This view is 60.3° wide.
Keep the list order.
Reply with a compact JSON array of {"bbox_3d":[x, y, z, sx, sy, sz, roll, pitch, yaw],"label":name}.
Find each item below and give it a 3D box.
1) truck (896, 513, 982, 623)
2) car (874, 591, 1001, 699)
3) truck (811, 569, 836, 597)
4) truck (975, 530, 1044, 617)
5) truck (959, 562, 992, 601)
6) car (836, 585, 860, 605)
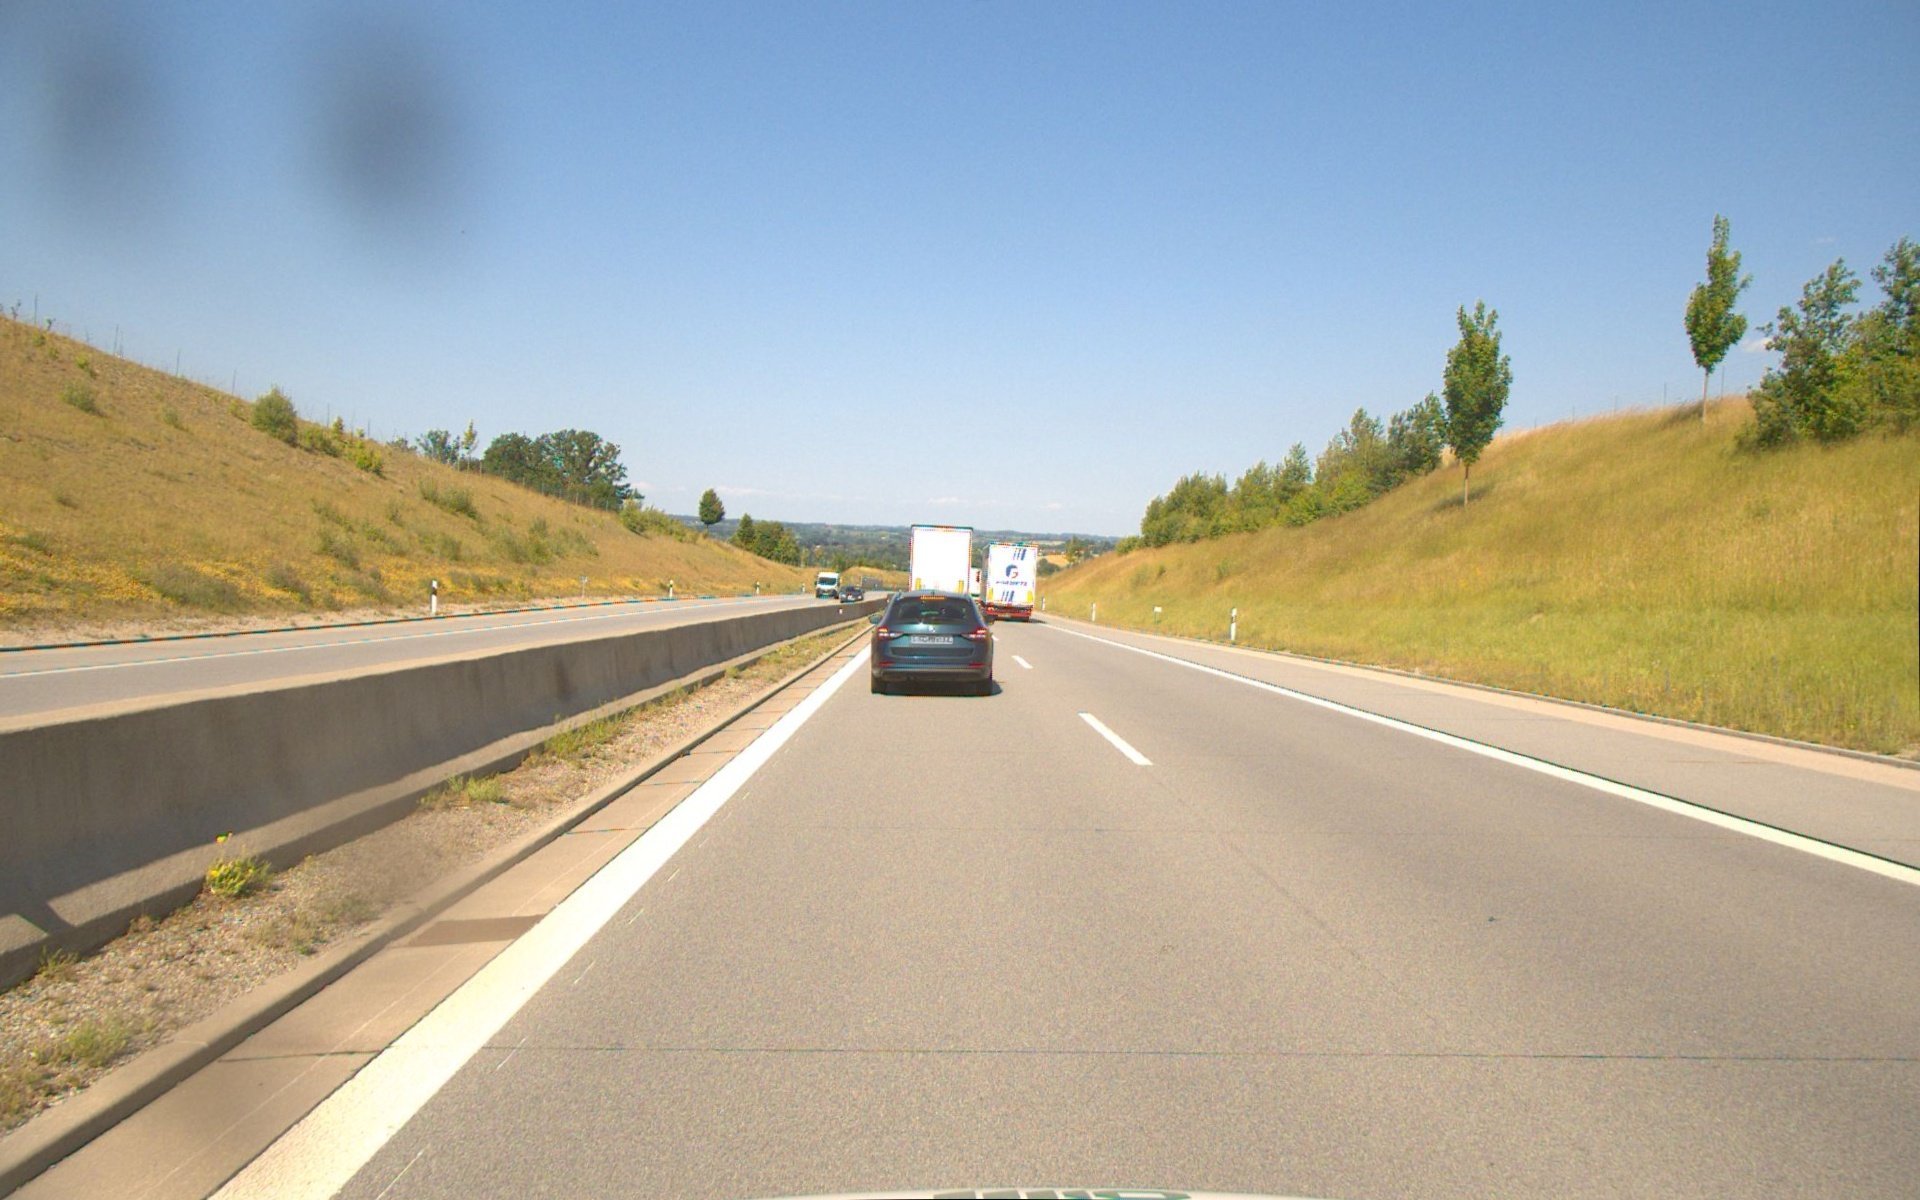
[{"bbox_3d":[-0.777,-1.371,73.381,3.144,4.458,11.237,1,0,2],"label":"truck"},{"bbox_3d":[-0.361,0.607,24.607,1.741,1.466,3.788,0,1,-2],"label":"car"},{"bbox_3d":[-13.129,-1.631,159.345,1.953,2.491,5.667,3,0,-1],"label":"truck"},{"bbox_3d":[2.758,-1.430,91.237,3.529,4.458,11.236,1,0,2],"label":"truck"},{"bbox_3d":[1.932,-2.178,195.974,3.529,4.458,11.236,1,0,2],"label":"truck"},{"bbox_3d":[-8.828,-0.425,130.193,1.738,1.474,4.181,2,0,-3],"label":"car"}]
